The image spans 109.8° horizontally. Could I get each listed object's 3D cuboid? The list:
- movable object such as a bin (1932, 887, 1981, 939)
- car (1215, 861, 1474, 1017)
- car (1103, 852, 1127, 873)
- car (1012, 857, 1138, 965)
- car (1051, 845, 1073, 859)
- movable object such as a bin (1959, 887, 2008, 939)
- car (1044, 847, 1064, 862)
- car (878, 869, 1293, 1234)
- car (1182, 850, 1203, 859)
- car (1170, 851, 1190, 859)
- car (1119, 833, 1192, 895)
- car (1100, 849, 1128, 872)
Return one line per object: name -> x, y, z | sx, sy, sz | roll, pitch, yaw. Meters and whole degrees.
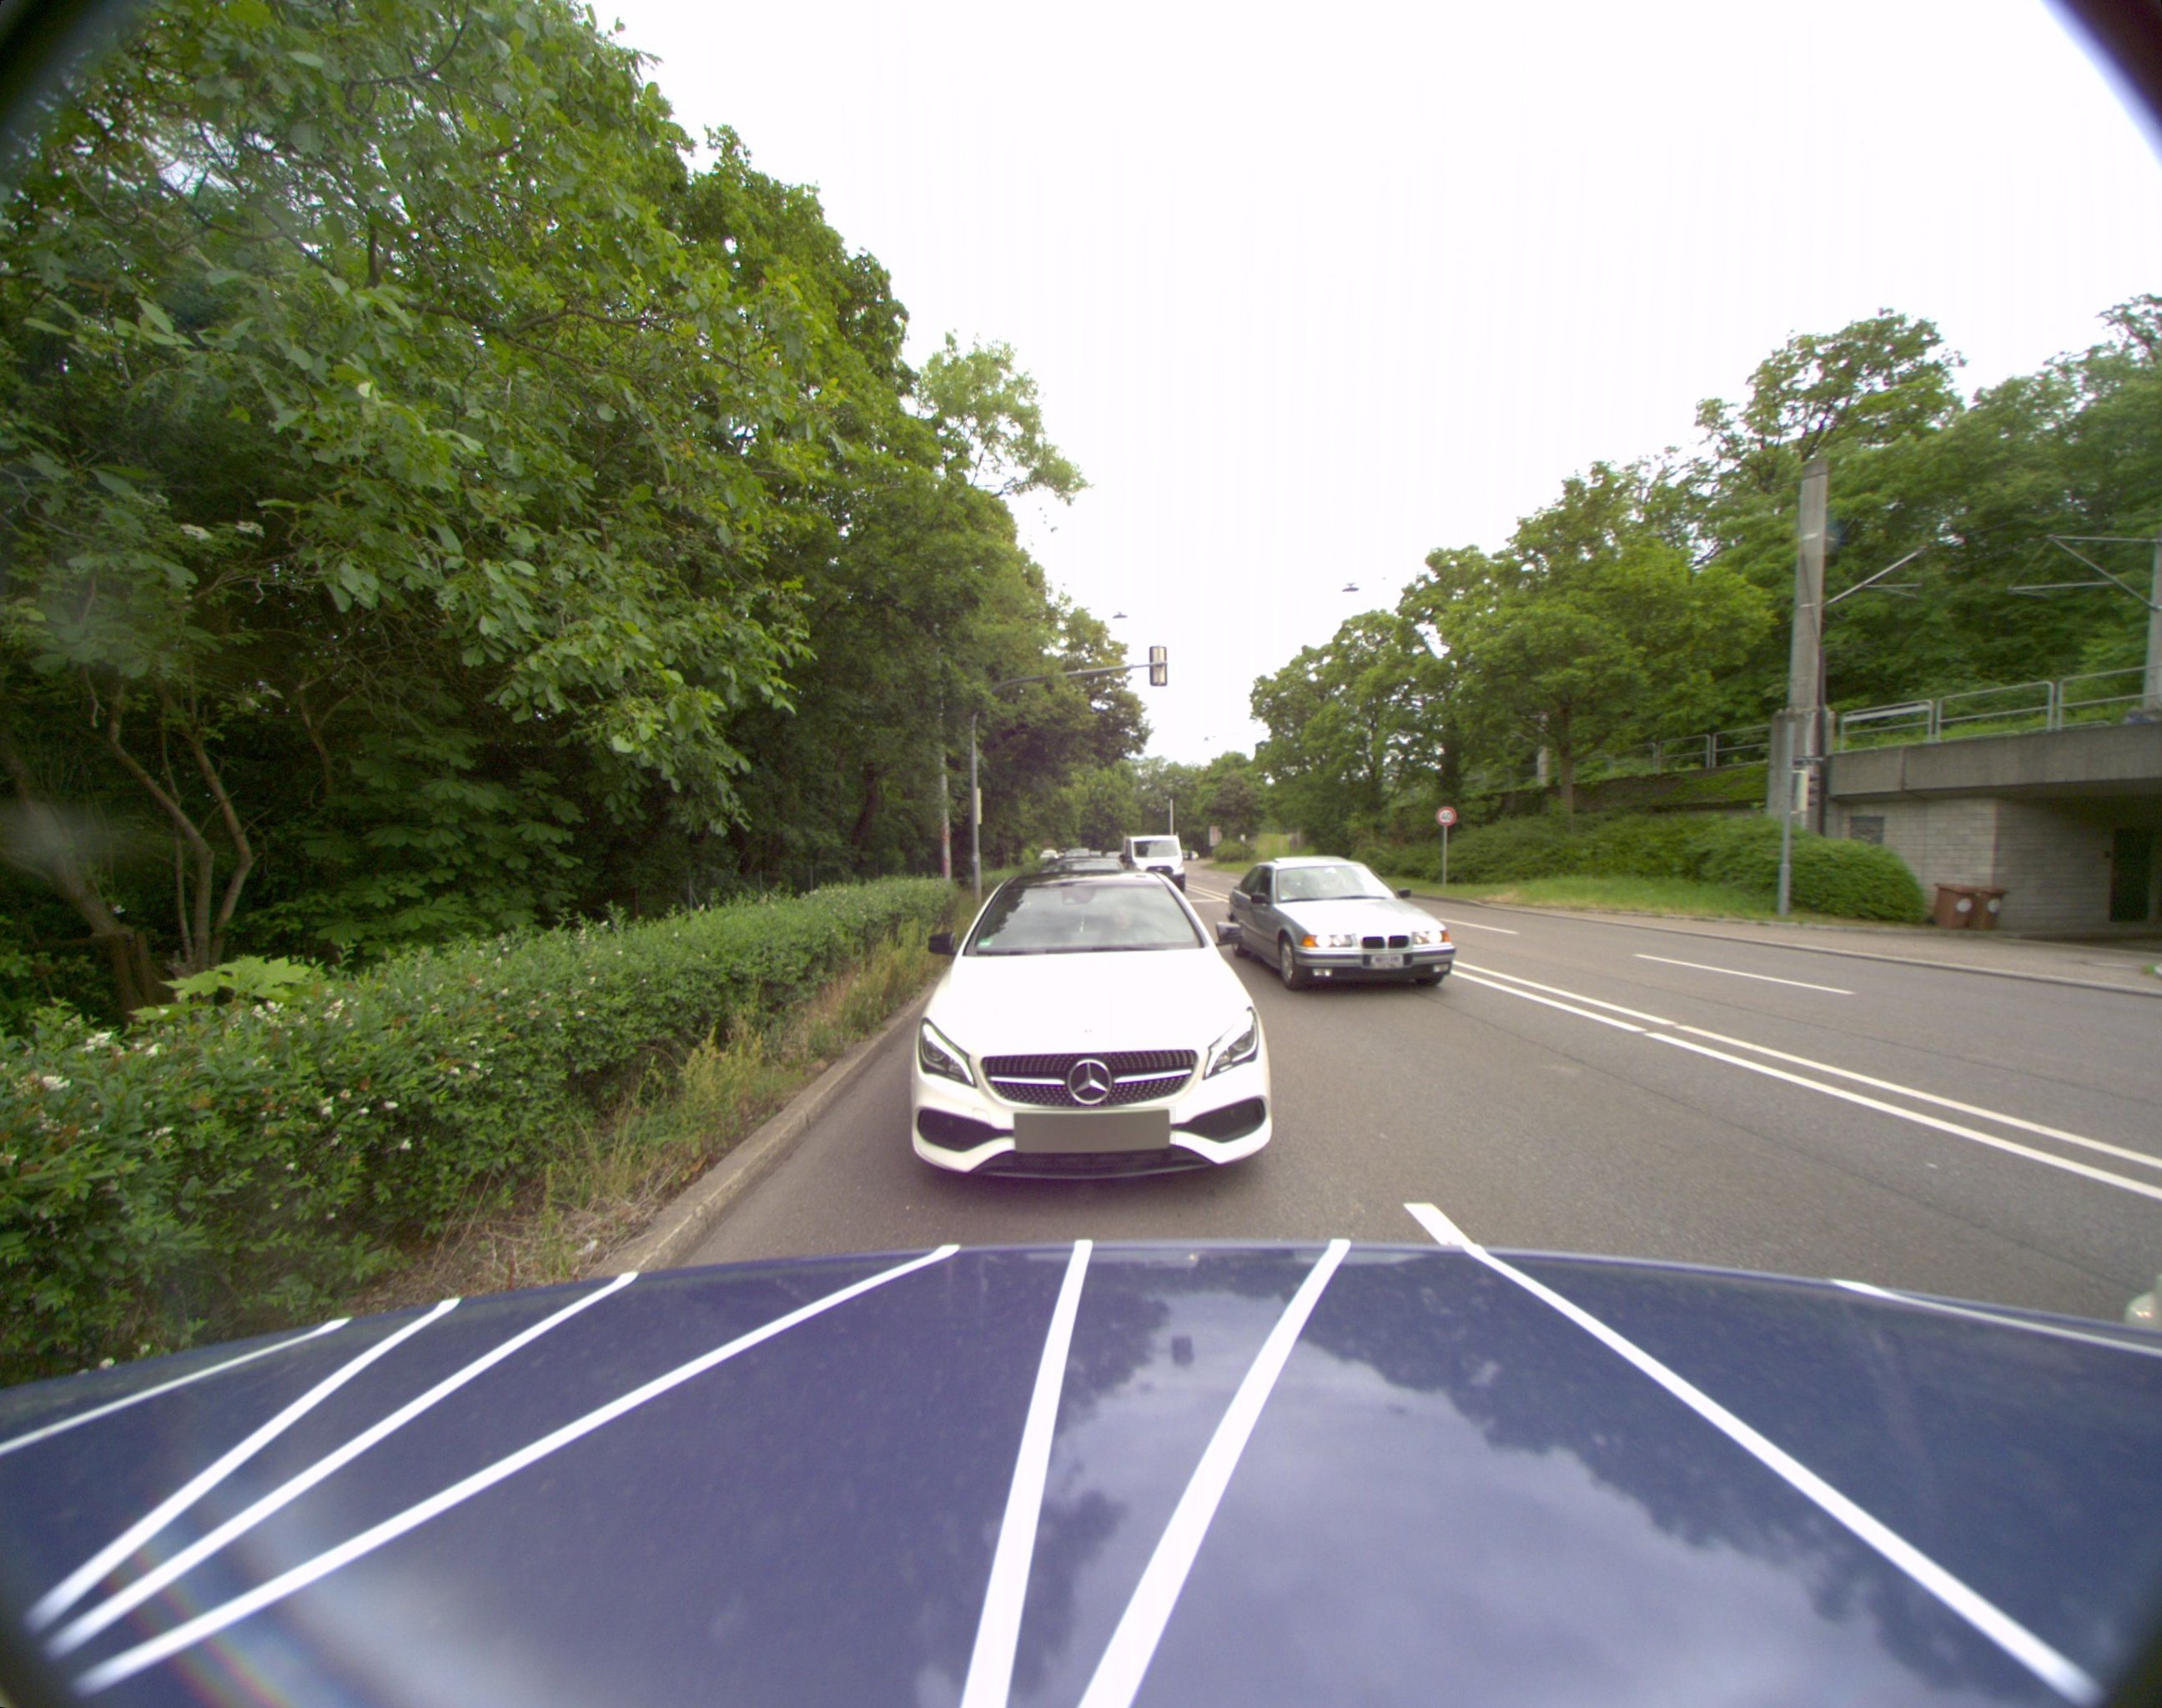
movable object such as a bin -> 18.345, 1.230, 15.929 | 0.419, 1.057, 0.503 | 0, 1, -4
car -> 2.896, 0.832, 9.352 | 1.664, 1.382, 4.182 | -1, 0, -1
car -> 2.802, 0.647, 62.103 | 1.854, 1.641, 4.358 | 1, 0, 3
car -> -0.078, 0.833, 13.046 | 1.755, 1.417, 4.009 | 3, 1, 0
car -> -2.198, -0.280, 90.154 | 1.754, 1.575, 4.013 | 1, 0, 10
movable object such as a bin -> 19.023, 1.229, 16.028 | 0.419, 1.057, 0.503 | 0, 1, -4
car -> -2.663, 0.061, 75.079 | 1.765, 1.433, 3.891 | 1, 0, 0
car -> 0.046, 0.929, 5.410 | 1.801, 1.470, 4.010 | -2, 0, 1
car -> 18.518, 0.094, 126.050 | 1.751, 1.354, 4.019 | 4, 1, 33
car -> 17.032, 0.181, 130.590 | 1.751, 1.354, 4.019 | 4, 1, 33
car -> 2.867, 0.352, 30.657 | 2.285, 2.187, 6.458 | -1, 0, 0
car -> 2.304, 0.430, 53.409 | 1.855, 1.583, 4.000 | 0, 0, 1
